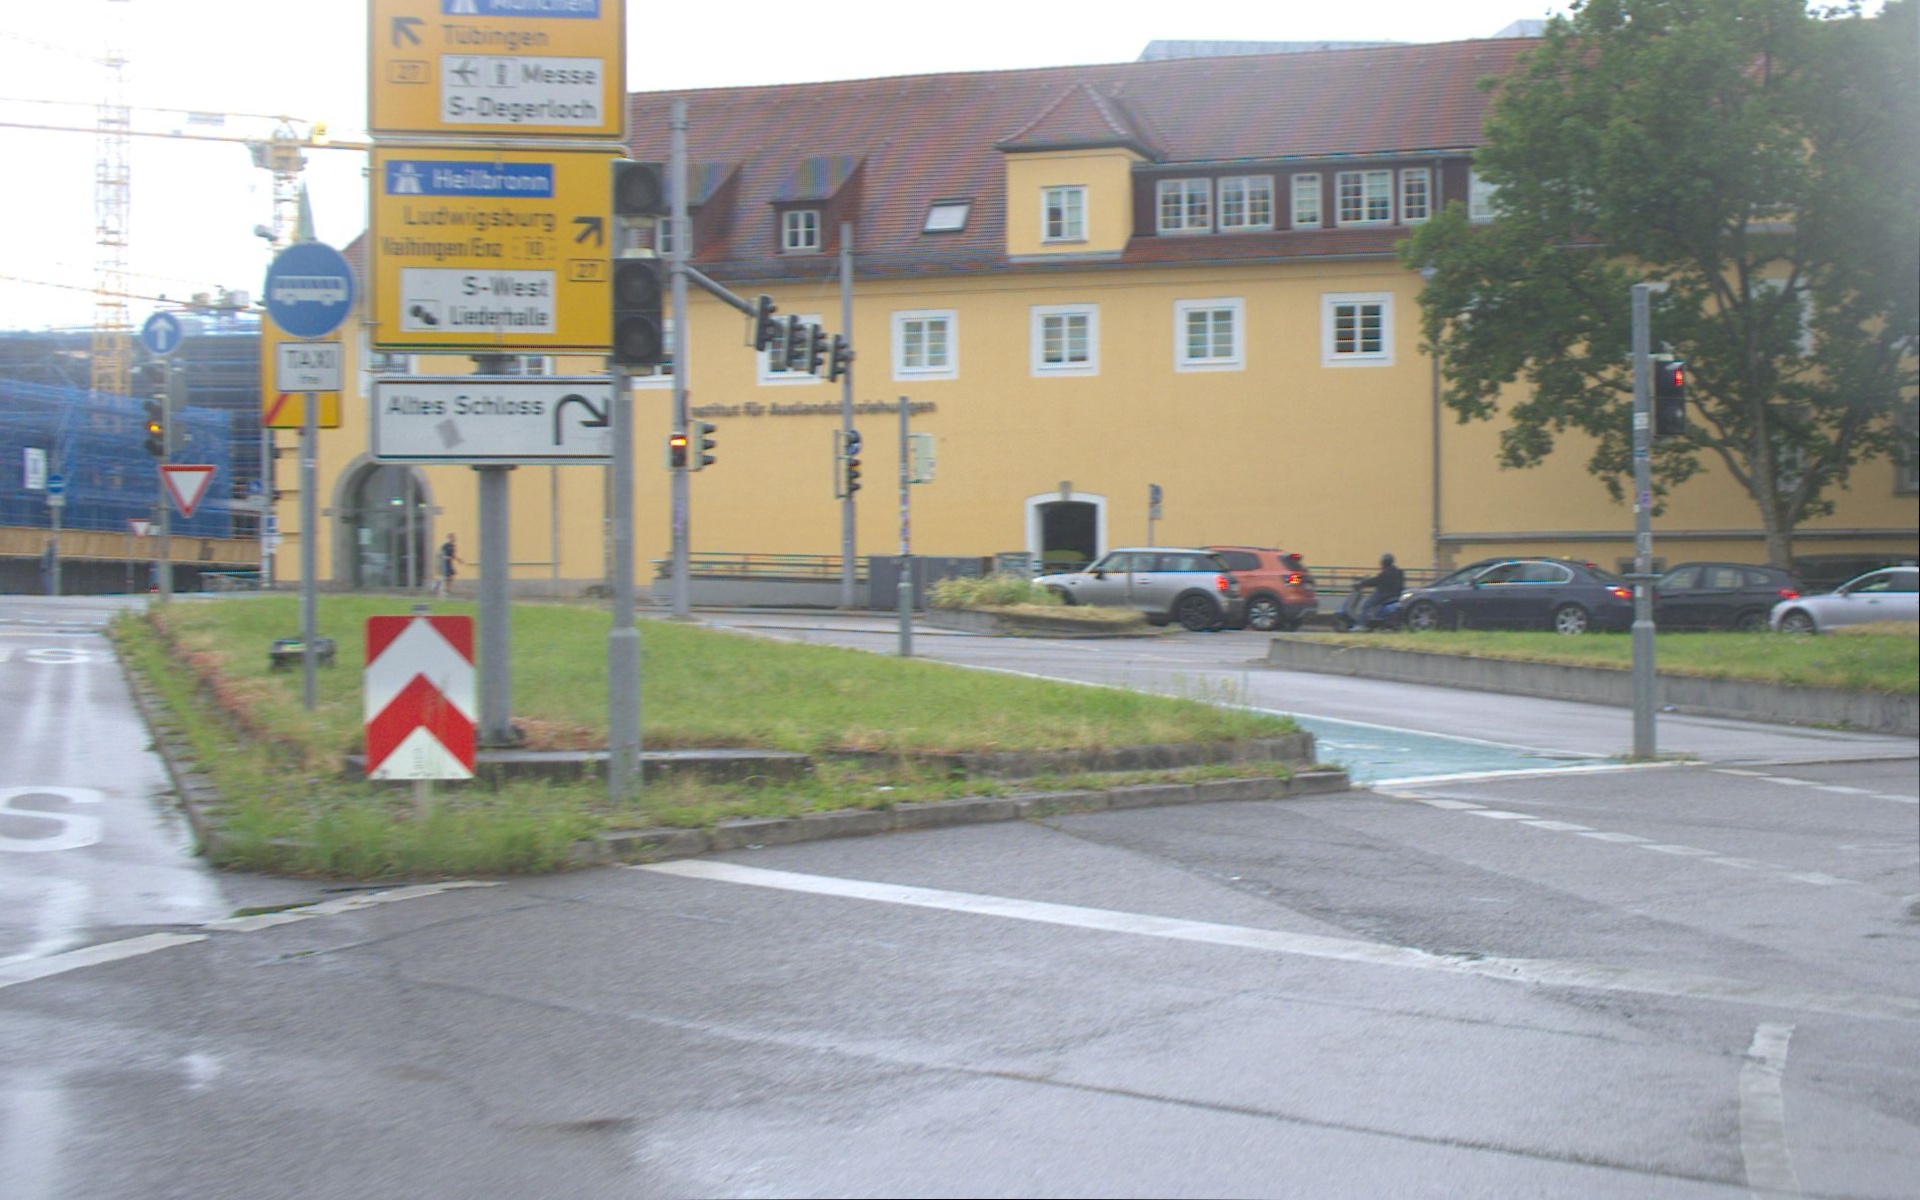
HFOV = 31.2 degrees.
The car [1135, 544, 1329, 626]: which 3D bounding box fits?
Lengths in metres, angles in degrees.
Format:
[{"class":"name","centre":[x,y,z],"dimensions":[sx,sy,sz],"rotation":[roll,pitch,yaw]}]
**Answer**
[{"class":"car","centre":[5.083,-0.276,64.117],"dimensions":[3.401,1.467,1.652],"rotation":[1,0,12]}]

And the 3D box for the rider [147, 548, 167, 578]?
[{"class":"rider","centre":[-27.530,-1.263,117.933],"dimensions":[0.618,1.035,0.533],"rotation":[1,0,-10]}]

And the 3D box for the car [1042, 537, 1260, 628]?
[{"class":"car","centre":[3.271,-0.294,58.643],"dimensions":[3.404,1.477,1.834],"rotation":[1,0,14]}]

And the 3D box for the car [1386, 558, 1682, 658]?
[{"class":"car","centre":[10.252,0.129,61.473],"dimensions":[4.810,1.703,1.996],"rotation":[1,0,31]}]

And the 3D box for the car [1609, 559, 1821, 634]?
[{"class":"car","centre":[14.061,-0.067,64.046],"dimensions":[3.600,1.332,1.575],"rotation":[1,0,24]}]

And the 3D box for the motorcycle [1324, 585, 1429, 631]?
[{"class":"motorcycle","centre":[8.028,0.151,66.312],"dimensions":[1.964,0.850,0.545],"rotation":[1,0,11]}]

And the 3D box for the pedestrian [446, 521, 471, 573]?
[{"class":"pedestrian","centre":[-13.145,-1.385,90.109],"dimensions":[0.455,1.363,0.443],"rotation":[1,-1,26]}]

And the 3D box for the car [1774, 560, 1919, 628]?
[{"class":"car","centre":[16.115,-0.092,58.243],"dimensions":[1.537,1.136,4.376],"rotation":[1,0,-45]}]

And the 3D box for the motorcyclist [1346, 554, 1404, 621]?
[{"class":"motorcyclist","centre":[8.000,-0.245,66.228],"dimensions":[1.075,1.268,0.691],"rotation":[1,0,9]}]
